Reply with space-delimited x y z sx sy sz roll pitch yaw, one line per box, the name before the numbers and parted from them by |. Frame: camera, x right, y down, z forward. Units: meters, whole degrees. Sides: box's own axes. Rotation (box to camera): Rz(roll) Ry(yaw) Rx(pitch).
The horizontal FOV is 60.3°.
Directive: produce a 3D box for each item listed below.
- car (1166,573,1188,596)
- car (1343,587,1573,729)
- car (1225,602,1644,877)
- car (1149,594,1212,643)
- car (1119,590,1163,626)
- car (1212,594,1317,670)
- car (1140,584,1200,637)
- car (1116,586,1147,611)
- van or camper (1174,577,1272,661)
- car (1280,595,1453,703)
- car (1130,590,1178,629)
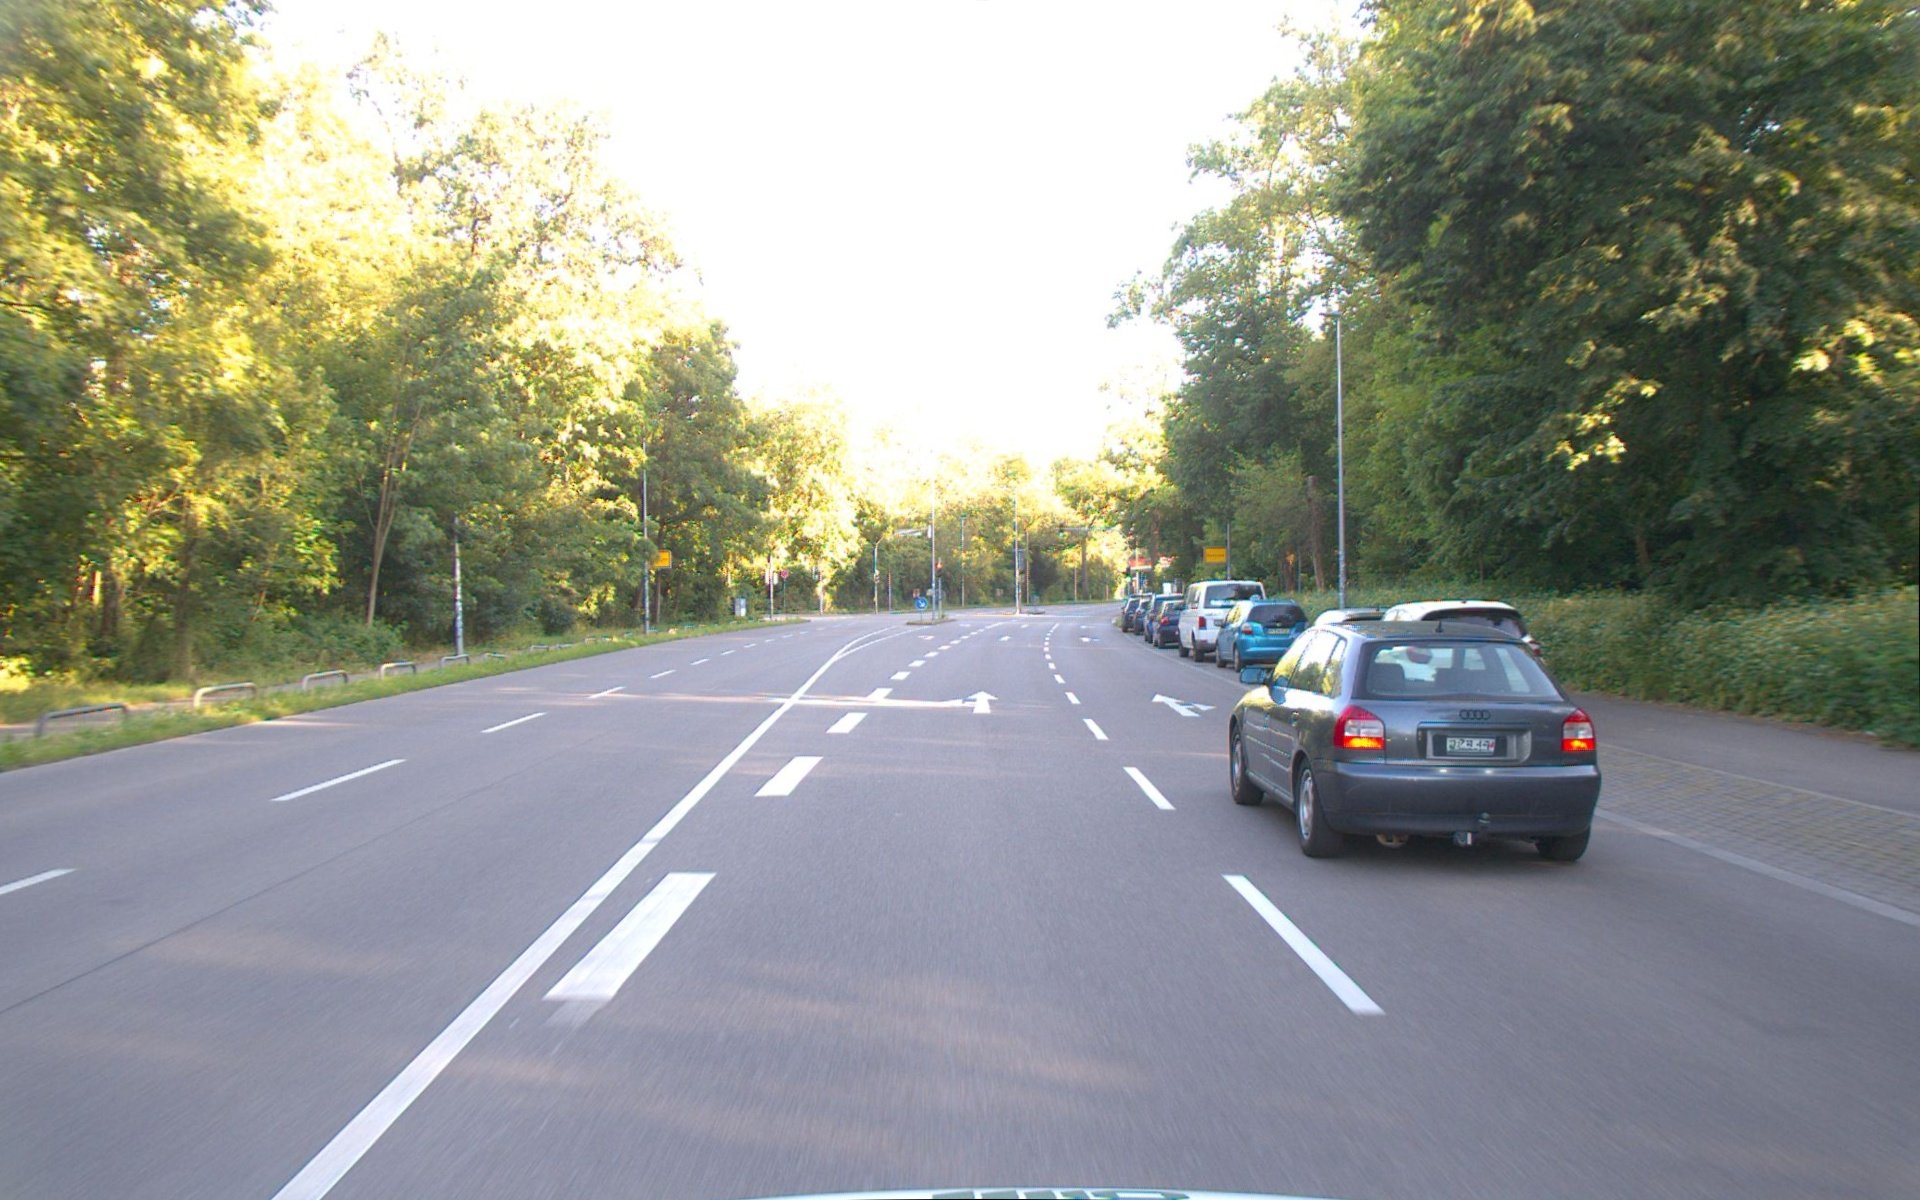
car | 23.086 -1.609 175.811 2.259 2.376 4.563 0 0 8
car | 5.976 0.633 20.331 1.692 1.549 4.091 0 0 2
car | 2.930 0.766 11.118 1.692 1.466 4.090 0 0 1
car | 6.947 0.553 52.331 1.615 1.467 4.114 0 0 3
car | 8.061 0.353 73.945 1.691 1.487 4.169 -2 0 4
car | 6.625 0.653 36.367 1.614 1.549 3.867 -1 0 0
car | 7.304 0.340 57.778 1.692 1.734 4.091 -2 0 3
car | 12.586 -0.131 121.362 1.952 1.646 4.001 -4 0 3
van or camper | 6.696 0.439 42.667 1.794 2.005 5.342 0 0 1
car | 6.020 0.671 24.946 1.692 1.434 4.091 -1 0 2
car | 8.007 0.366 68.440 1.691 1.516 4.092 -2 0 4
